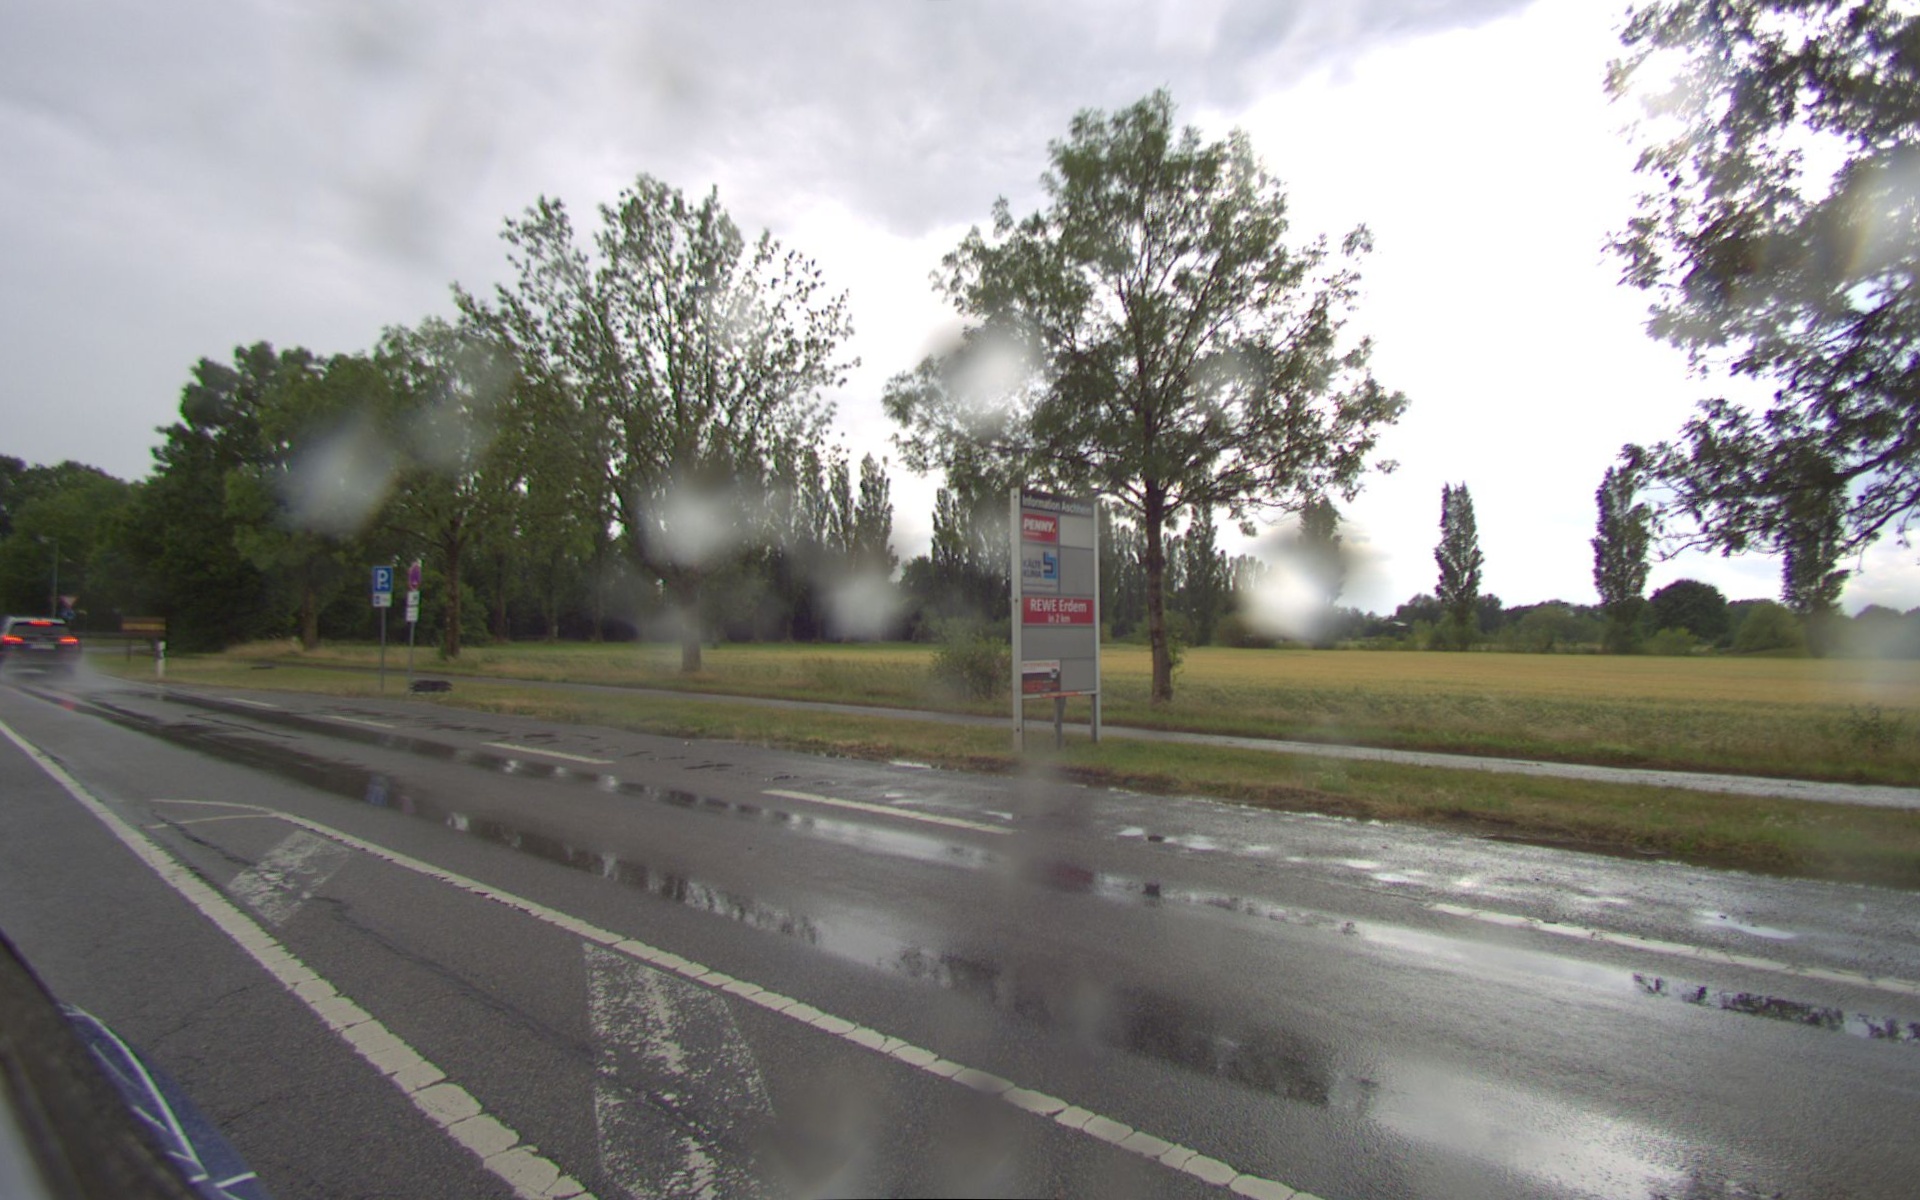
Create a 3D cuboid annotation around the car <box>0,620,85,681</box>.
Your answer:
[{"bbox_3d":[-26.788,1.423,29.027,4.355,1.644,1.896,-1,-4,41],"label":"car"}]
